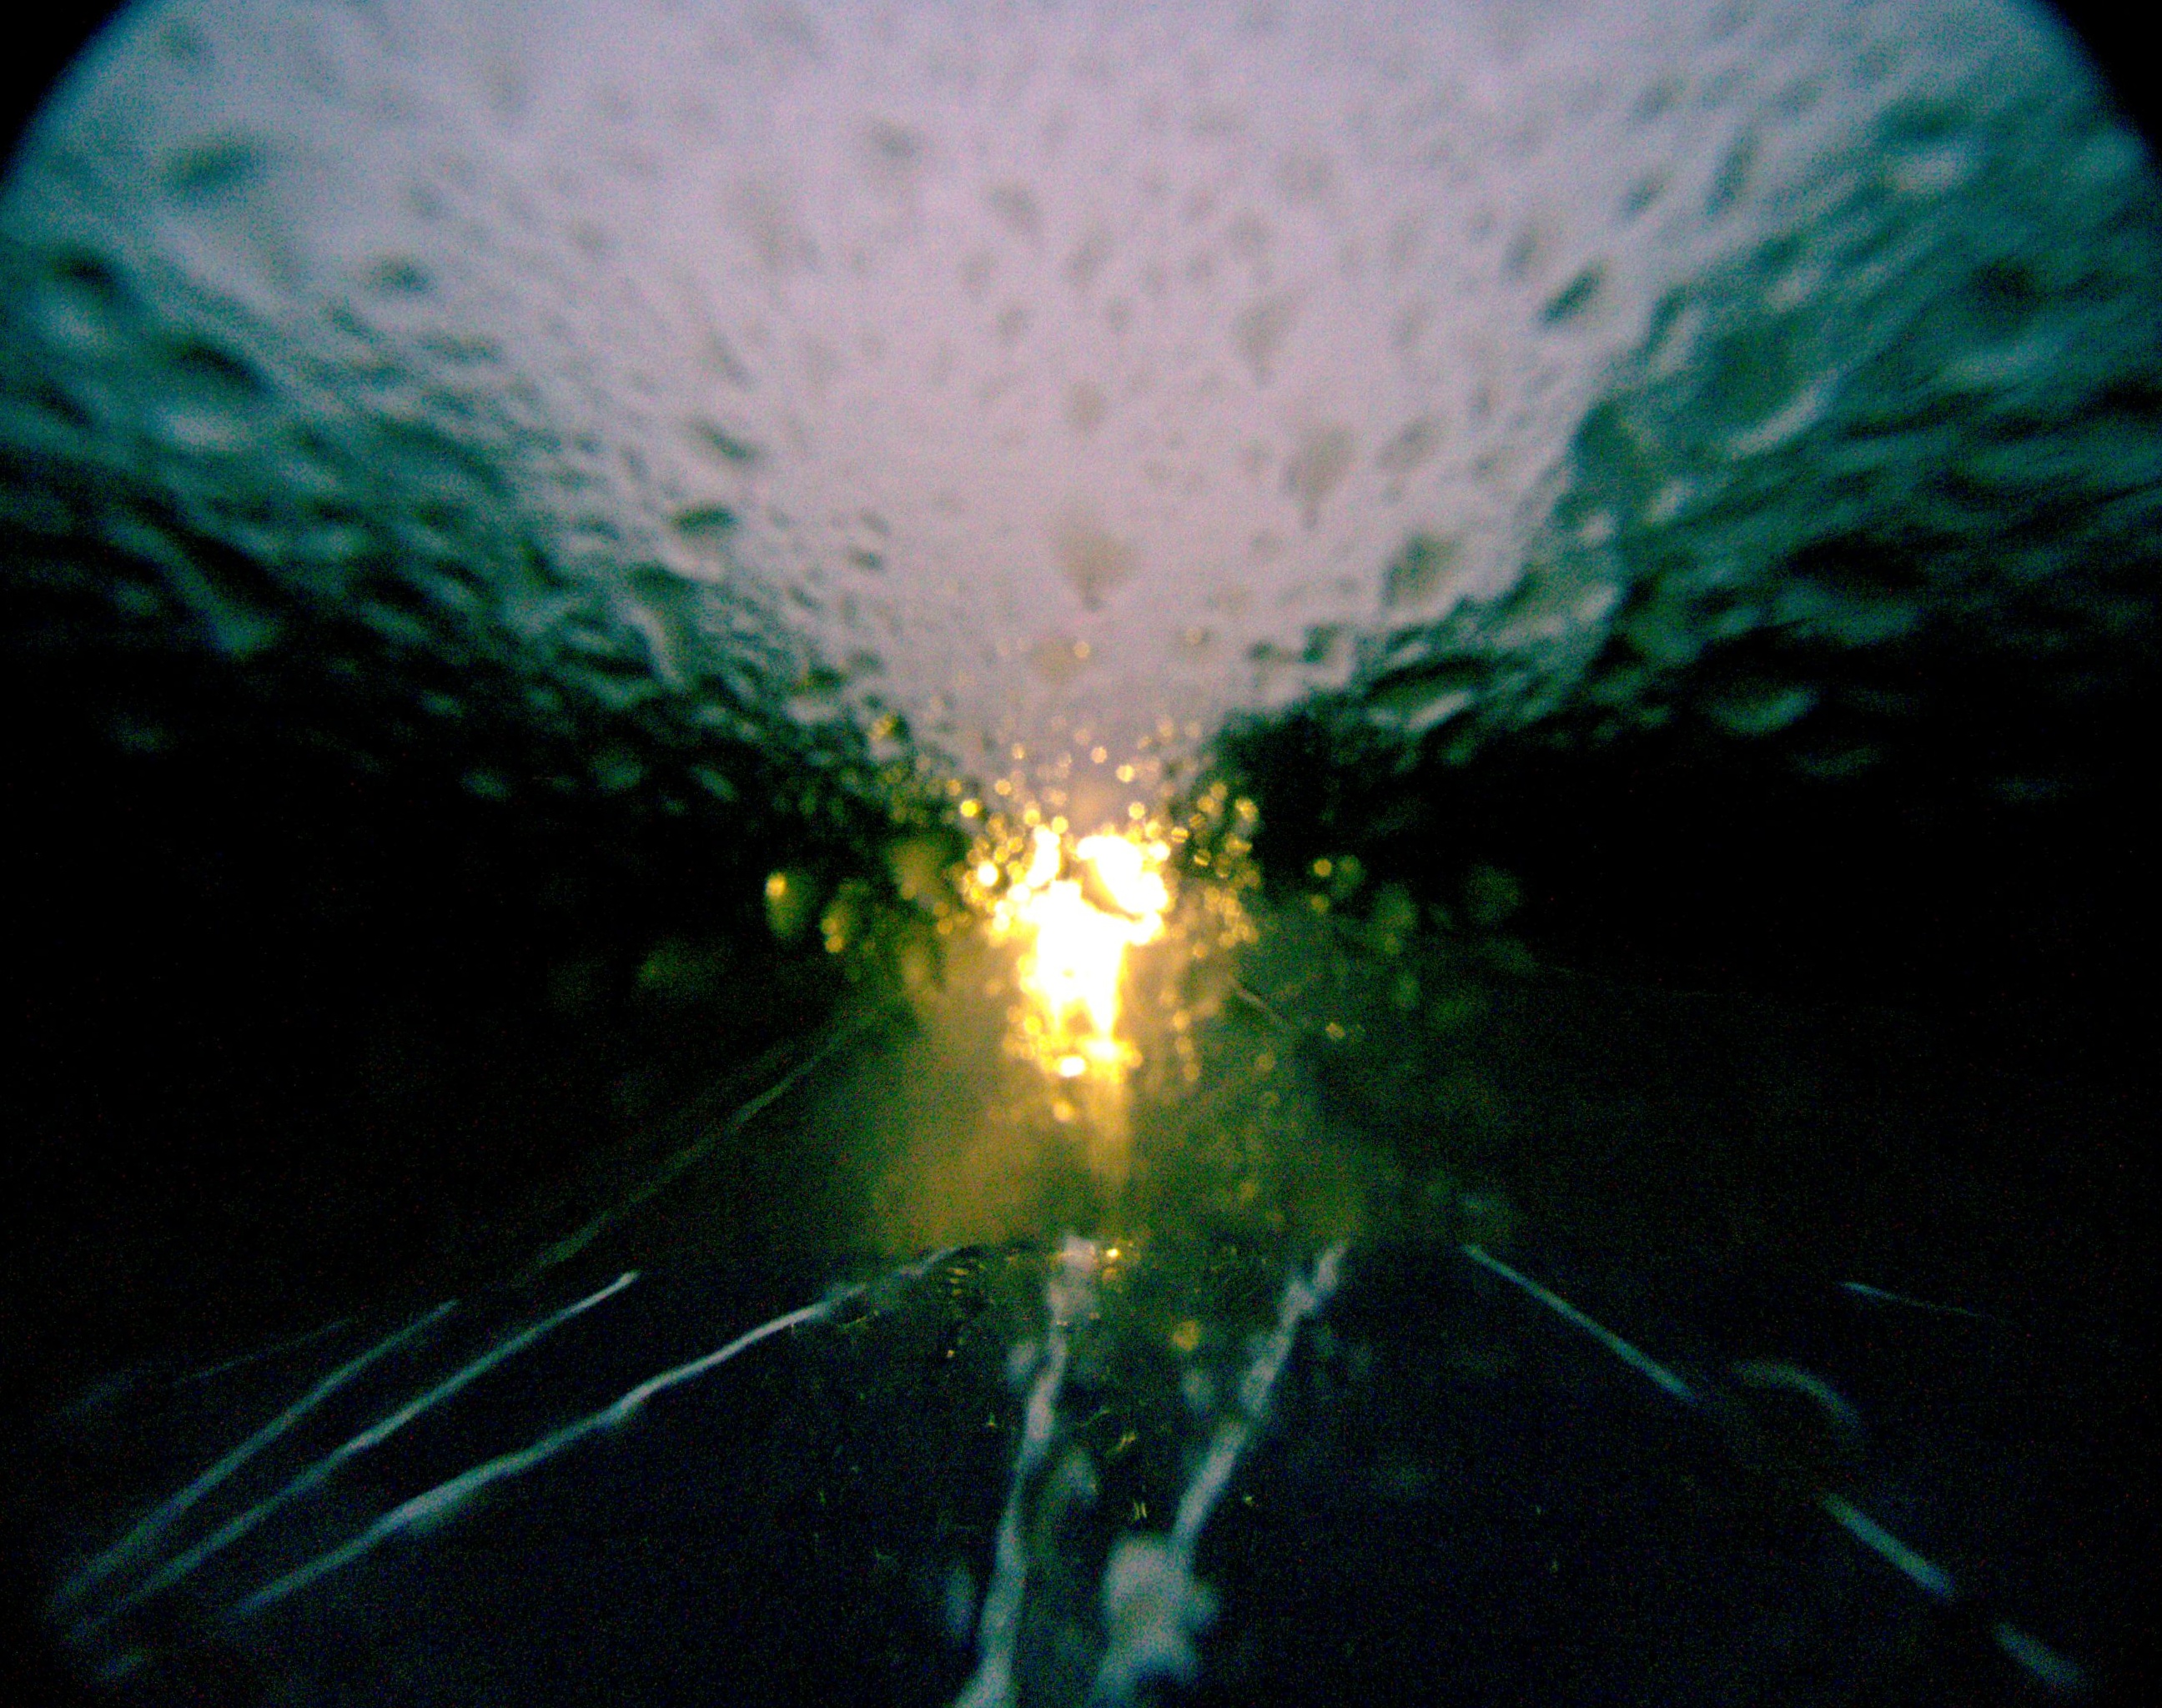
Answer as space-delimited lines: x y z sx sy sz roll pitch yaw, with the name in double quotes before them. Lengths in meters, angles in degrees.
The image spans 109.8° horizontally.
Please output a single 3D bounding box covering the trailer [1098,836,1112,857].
"trailer" 5.249 -1.616 166.232 2.677 4.432 12.240 -2 1 0
